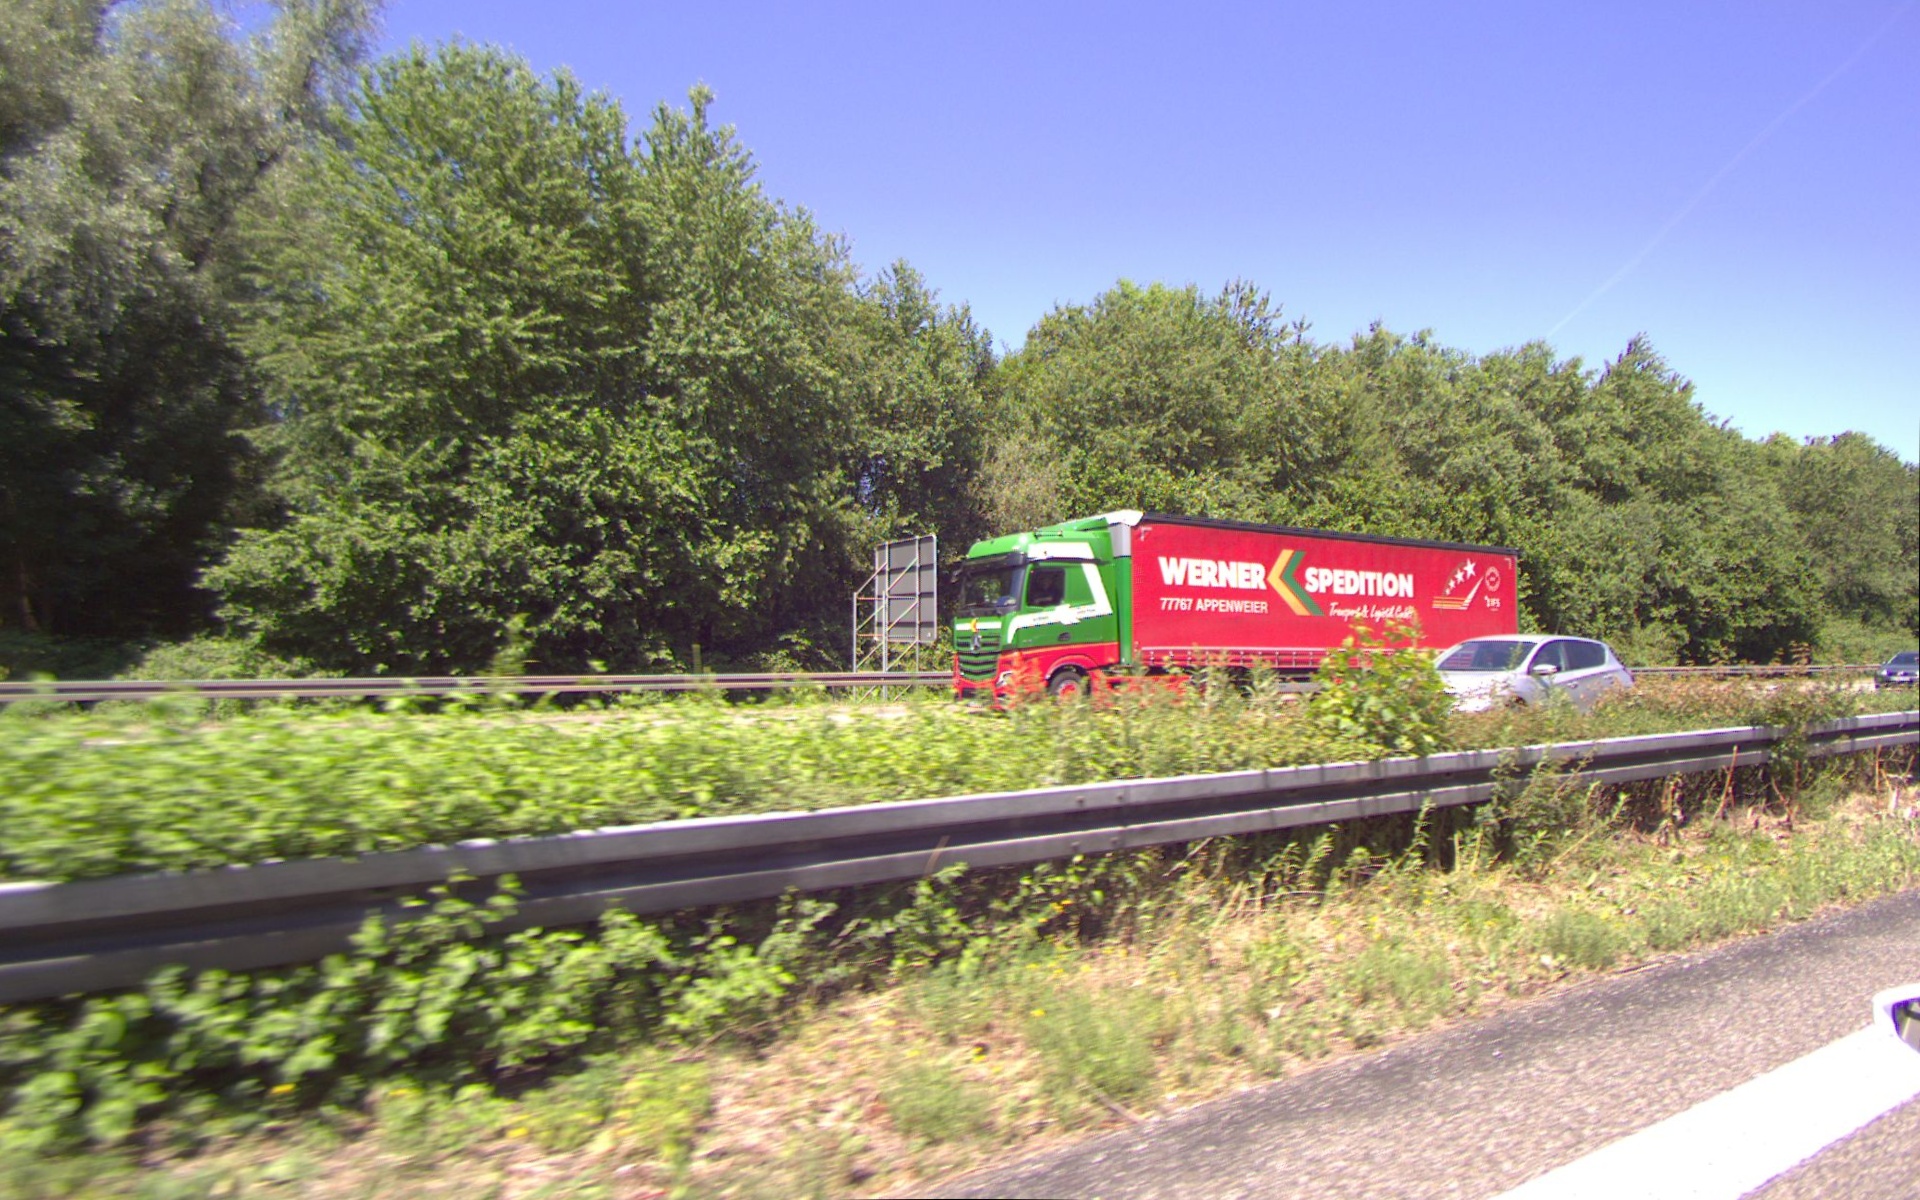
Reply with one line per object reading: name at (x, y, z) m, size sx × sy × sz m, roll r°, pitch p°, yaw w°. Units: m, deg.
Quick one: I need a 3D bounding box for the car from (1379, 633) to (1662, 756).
car at (8.158, 1.265, 14.511) m, size 4.469 × 1.531 × 1.659 m, roll 2°, pitch -2°, yaw -32°

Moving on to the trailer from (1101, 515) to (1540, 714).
trailer at (9.507, 0.506, 25.338) m, size 12.595 × 4.112 × 3.201 m, roll 2°, pitch -2°, yaw -31°

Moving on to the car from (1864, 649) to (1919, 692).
car at (35.214, 2.539, 36.774) m, size 4.817 × 1.469 × 1.839 m, roll 2°, pitch -3°, yaw -31°

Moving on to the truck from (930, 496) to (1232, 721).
truck at (2.567, 0.260, 21.183) m, size 5.553 × 4.112 × 3.201 m, roll 2°, pitch -2°, yaw -31°
